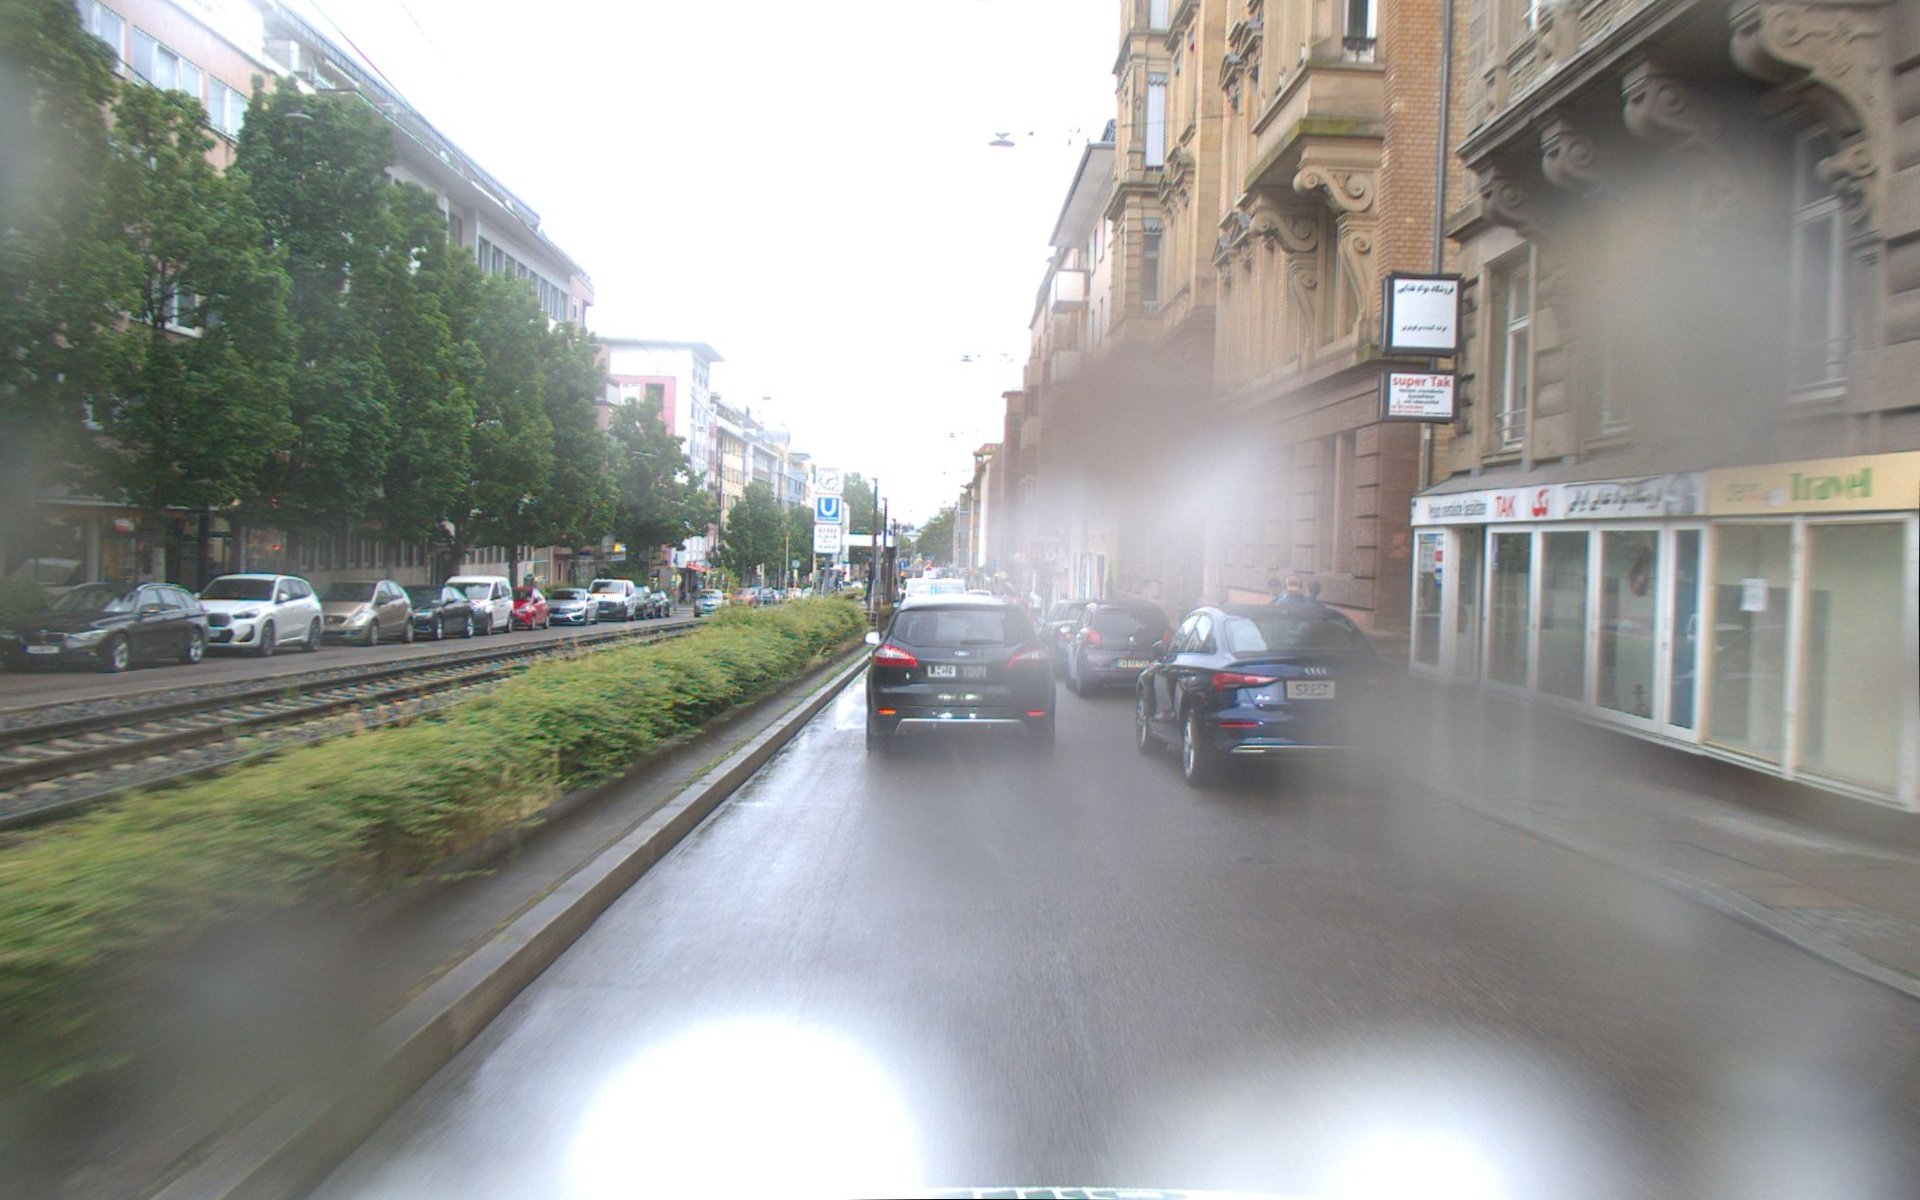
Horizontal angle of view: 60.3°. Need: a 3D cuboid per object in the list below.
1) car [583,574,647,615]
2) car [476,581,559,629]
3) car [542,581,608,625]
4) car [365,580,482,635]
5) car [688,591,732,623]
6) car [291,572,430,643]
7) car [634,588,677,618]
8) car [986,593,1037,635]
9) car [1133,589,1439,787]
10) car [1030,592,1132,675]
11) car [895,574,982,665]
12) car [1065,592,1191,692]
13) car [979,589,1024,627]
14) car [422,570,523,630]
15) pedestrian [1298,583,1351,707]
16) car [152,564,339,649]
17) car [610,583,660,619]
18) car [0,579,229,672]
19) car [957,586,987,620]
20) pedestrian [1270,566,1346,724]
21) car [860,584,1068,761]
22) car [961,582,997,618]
[{"bbox_3d":[-15.435,-0.203,74.195,1.818,1.665,4.934,2,-1,-1],"label":"car"},{"bbox_3d":[-15.346,0.207,57.552,1.818,1.553,4.045,2,-1,-1],"label":"car"},{"bbox_3d":[-15.053,0.155,64.776,1.634,1.585,4.045,2,-1,-1],"label":"car"},{"bbox_3d":[-14.721,0.239,45.617,1.817,1.443,4.430,0,-1,-1],"label":"car"},{"bbox_3d":[-13.988,0.423,92.749,1.818,1.665,4.045,2,-1,-1],"label":"car"},{"bbox_3d":[-14.716,0.225,40.862,1.818,1.576,4.430,2,-1,-1],"label":"car"},{"bbox_3d":[-15.977,0.187,86.993,1.519,1.419,4.045,2,-1,-1],"label":"car"},{"bbox_3d":[1.834,0.494,59.930,1.636,1.446,3.475,1,0,-1],"label":"car"},{"bbox_3d":[2.666,0.697,14.502,1.755,1.431,4.256,2,-1,-1],"label":"car"},{"bbox_3d":[2.298,0.622,32.211,1.545,1.485,3.819,1,0,-2],"label":"car"},{"bbox_3d":[-0.483,0.431,41.426,1.947,2.096,4.646,2,1,1],"label":"car"},{"bbox_3d":[2.644,0.638,26.724,1.616,1.485,3.475,1,0,-1],"label":"car"},{"bbox_3d":[1.656,0.307,66.683,1.636,1.446,3.475,1,0,-1],"label":"car"},{"bbox_3d":[-15.111,0.040,51.508,1.818,1.731,4.430,2,-1,-1],"label":"car"},{"bbox_3d":[4.819,0.592,21.879,0.509,1.607,0.677,-1,-2,-1],"label":"pedestrian"},{"bbox_3d":[-14.688,0.179,34.325,1.818,1.576,4.719,2,-1,-1],"label":"car"},{"bbox_3d":[-15.850,0.074,80.781,1.660,1.601,4.045,2,-1,-1],"label":"car"},{"bbox_3d":[-14.390,0.468,28.306,1.659,1.402,4.719,2,-2,-1],"label":"car"},{"bbox_3d":[0.701,0.183,98.550,1.559,1.812,3.778,4,-2,-1],"label":"car"},{"bbox_3d":[4.219,0.525,20.115,0.689,1.851,0.961,-1,1,-1],"label":"pedestrian"},{"bbox_3d":[-0.064,0.647,16.458,1.806,1.533,3.997,1,0,-3],"label":"car"},{"bbox_3d":[1.057,0.031,92.491,1.802,1.812,3.778,4,-2,-1],"label":"car"}]
